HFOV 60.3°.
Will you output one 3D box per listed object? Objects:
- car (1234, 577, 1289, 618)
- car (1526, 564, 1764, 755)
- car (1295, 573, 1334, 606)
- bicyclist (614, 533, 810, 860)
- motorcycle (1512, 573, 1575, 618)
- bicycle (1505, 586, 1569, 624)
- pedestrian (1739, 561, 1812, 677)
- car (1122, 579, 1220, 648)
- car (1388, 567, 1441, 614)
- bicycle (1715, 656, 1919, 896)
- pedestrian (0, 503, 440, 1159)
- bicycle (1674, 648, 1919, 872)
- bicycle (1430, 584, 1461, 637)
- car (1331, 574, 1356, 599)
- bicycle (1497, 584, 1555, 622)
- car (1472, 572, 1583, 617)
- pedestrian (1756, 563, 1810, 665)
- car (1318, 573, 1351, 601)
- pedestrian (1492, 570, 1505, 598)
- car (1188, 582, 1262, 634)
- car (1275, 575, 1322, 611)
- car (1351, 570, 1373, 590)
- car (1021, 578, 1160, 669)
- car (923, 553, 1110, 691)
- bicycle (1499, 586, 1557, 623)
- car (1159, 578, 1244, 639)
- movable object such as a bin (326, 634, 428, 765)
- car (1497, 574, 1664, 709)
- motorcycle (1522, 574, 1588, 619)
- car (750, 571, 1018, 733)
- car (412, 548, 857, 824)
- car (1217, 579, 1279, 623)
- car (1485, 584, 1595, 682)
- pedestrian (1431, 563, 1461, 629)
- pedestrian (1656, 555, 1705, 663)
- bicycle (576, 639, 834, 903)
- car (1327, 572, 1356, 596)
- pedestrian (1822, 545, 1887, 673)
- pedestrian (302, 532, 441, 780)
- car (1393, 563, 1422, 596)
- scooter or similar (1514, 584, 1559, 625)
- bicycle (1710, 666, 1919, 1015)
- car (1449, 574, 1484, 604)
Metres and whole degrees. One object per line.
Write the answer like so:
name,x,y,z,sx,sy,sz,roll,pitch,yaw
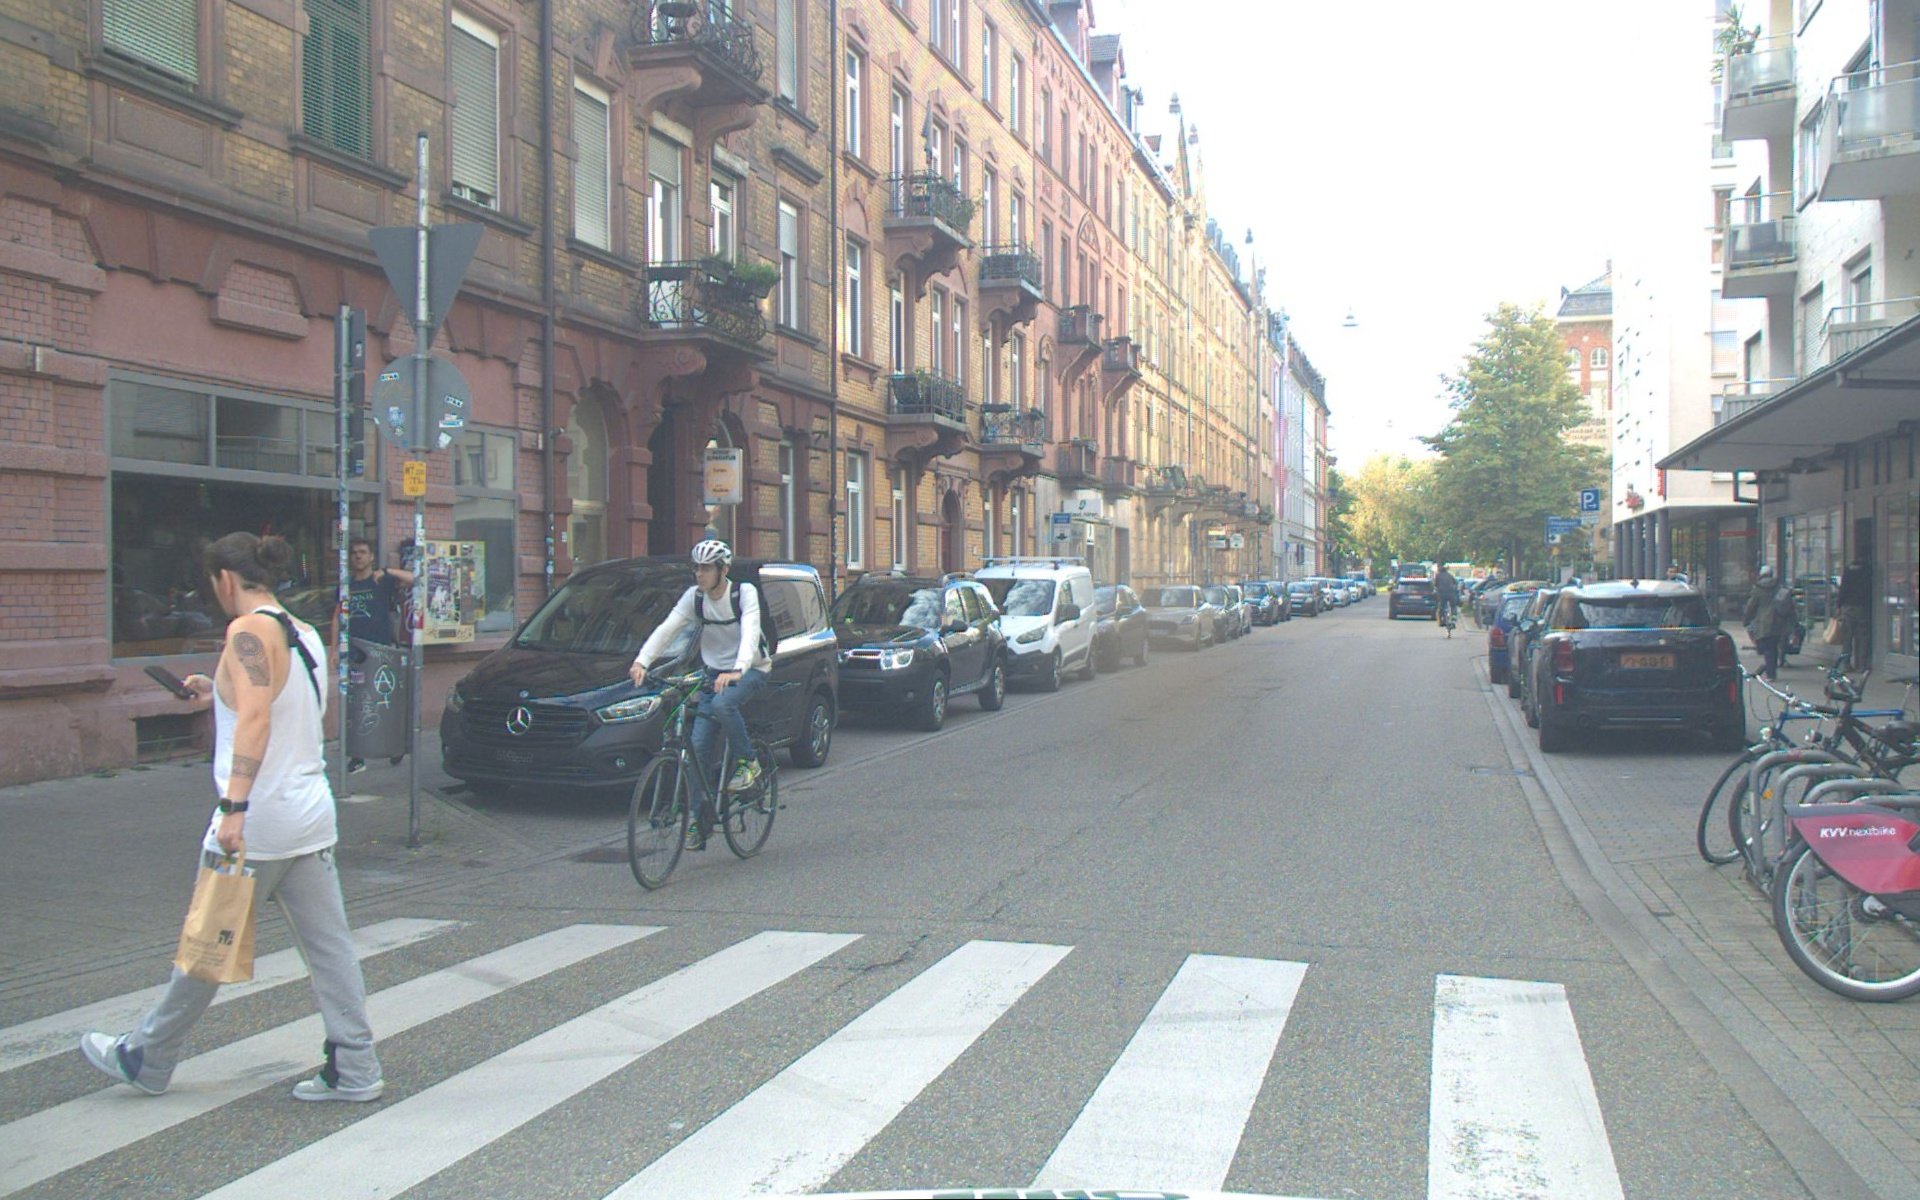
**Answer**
car,11.407,-0.123,62.366,1.654,1.462,3.870,1,1,16
car,6.701,0.504,16.554,1.755,1.633,3.927,-3,0,17
car,18.042,-0.540,84.081,1.654,1.577,3.870,1,1,15
bicyclist,-1.360,0.513,9.253,0.685,1.707,1.113,-2,0,12
motorcycle,21.492,-0.171,60.926,2.106,1.557,0.686,-2,0,21
bicycle,17.342,0.153,49.717,1.728,1.075,0.412,-3,0,12
pedestrian,11.585,0.265,23.525,0.806,1.616,0.781,-1,0,18
car,5.046,0.280,39.192,1.705,1.509,3.986,1,1,16
car,17.978,-0.386,65.385,1.923,1.771,4.044,0,0,17
bicycle,4.751,0.841,8.153,1.750,1.089,0.569,-2,1,7
pedestrian,-2.080,0.597,4.784,1.001,1.700,0.802,0,0,-11
bicycle,4.816,0.828,8.788,1.750,1.089,0.587,-2,1,7
bicycle,12.557,0.256,42.757,0.703,1.296,1.885,1,1,17
car,29.133,-1.014,125.456,1.654,1.853,3.870,1,1,16
bicycle,18.851,0.109,55.091,1.757,1.179,0.500,-2,0,20
car,21.655,-0.194,63.216,3.680,1.573,1.732,-2,-1,6
pedestrian,13.355,0.222,26.851,0.630,1.616,0.781,-2,0,18
car,21.610,-0.768,95.452,1.654,1.577,3.870,1,1,16
pedestrian,44.236,-1.319,135.800,0.974,2.269,0.899,1,1,17
car,7.734,0.195,48.101,1.654,1.411,3.870,1,1,16
car,14.791,-0.316,72.161,1.655,1.393,3.870,4,2,16
car,34.136,-1.694,140.463,1.654,1.577,3.870,1,1,16
car,2.466,0.375,30.319,1.705,1.509,3.986,1,1,17
car,0.970,0.259,25.298,1.879,1.904,4.440,0,1,15
bicycle,18.354,0.142,53.486,1.729,1.118,0.411,-2,0,20
car,6.446,0.187,43.867,1.705,1.509,3.986,1,1,16
movable object such as a bin,-3.448,0.580,9.796,0.375,0.726,0.476,1,1,12
car,8.058,0.489,21.754,1.652,1.604,3.905,-1,0,15
motorcycle,20.826,-0.129,57.935,2.106,1.460,0.765,-2,0,21
car,-0.742,0.500,19.274,1.951,1.666,4.148,0,1,15
car,-2.361,0.520,13.287,1.722,1.804,4.409,1,1,15
car,9.815,0.007,56.126,1.654,1.411,3.870,1,1,16
car,9.562,0.496,27.459,1.562,1.464,4.033,-1,1,17
pedestrian,12.574,-0.118,42.806,0.703,1.678,0.931,1,1,17
pedestrian,12.008,0.138,27.591,0.599,1.756,1.127,-1,1,17
bicycle,-1.346,0.874,9.221,0.685,1.241,2.119,-2,0,12
car,25.378,-1.068,109.892,1.654,1.577,3.870,1,1,16
pedestrian,13.424,0.124,24.819,0.640,1.892,0.698,-1,1,-45
pedestrian,-4.642,0.417,13.089,0.662,1.872,0.858,2,1,10
car,28.436,-1.321,105.029,1.744,2.055,3.891,1,1,15
scooter or similar,17.083,0.131,49.020,0.375,1.167,1.191,-4,1,-41
bicycle,3.850,0.833,6.041,1.842,1.145,0.908,-3,0,15
car,29.242,-0.660,95.590,1.889,1.666,4.003,1,1,17
